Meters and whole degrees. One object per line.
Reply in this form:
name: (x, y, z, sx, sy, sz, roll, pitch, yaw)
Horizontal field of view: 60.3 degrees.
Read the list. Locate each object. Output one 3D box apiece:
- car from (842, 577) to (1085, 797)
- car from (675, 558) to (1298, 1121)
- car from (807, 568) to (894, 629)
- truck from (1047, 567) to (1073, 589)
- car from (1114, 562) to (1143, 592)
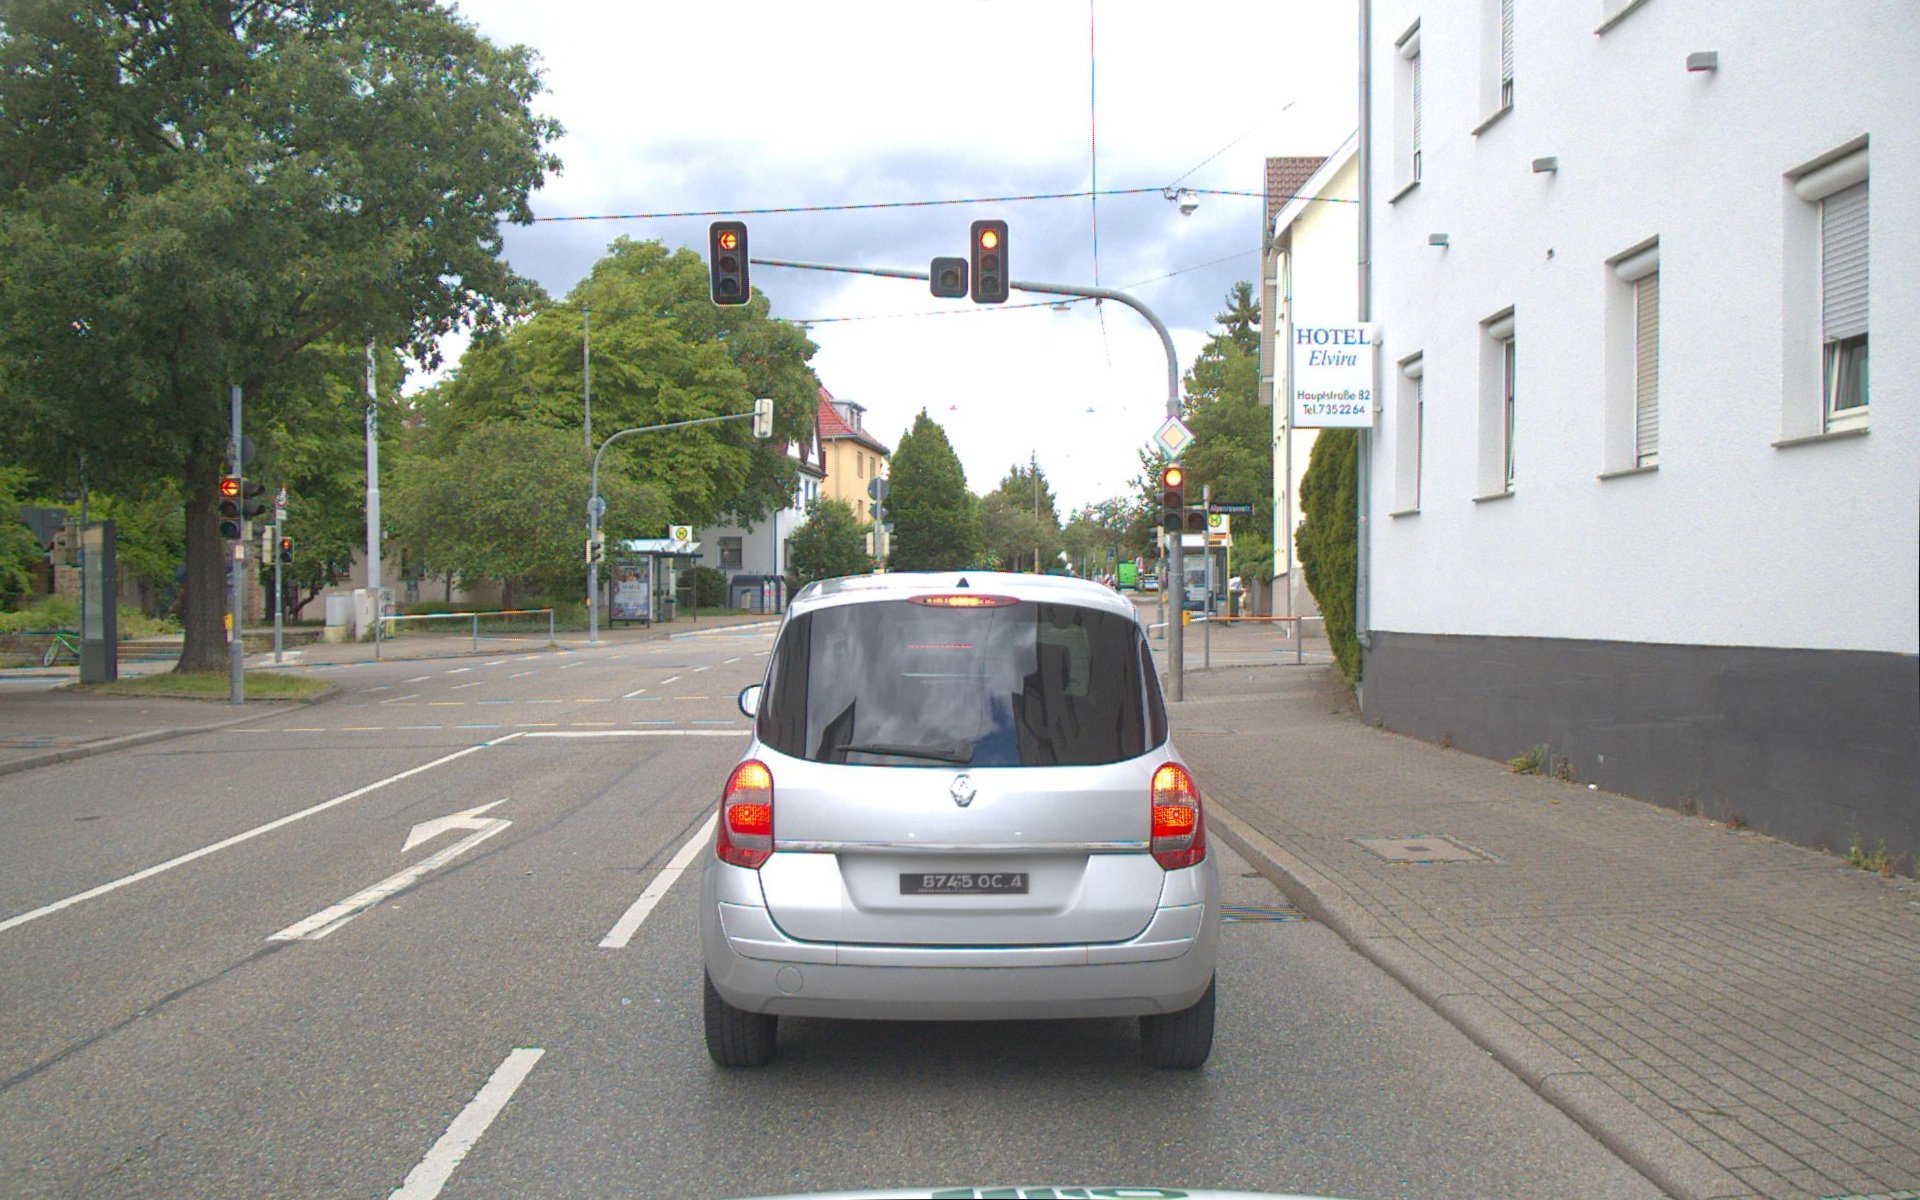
car: (-0.011, 0.621, 13.696, 1.719, 1.557, 3.796, 1, 0, -1)
car: (0.039, 0.666, 6.601, 1.719, 1.557, 3.999, 1, 0, -1)
car: (-3.529, -0.066, 54.211, 1.885, 1.804, 4.004, -4, 0, 9)
truck: (10.114, -2.199, 166.763, 2.056, 2.049, 5.752, 1, 0, 9)
car: (14.920, -2.009, 146.173, 2.015, 2.556, 5.600, 1, 0, 11)
